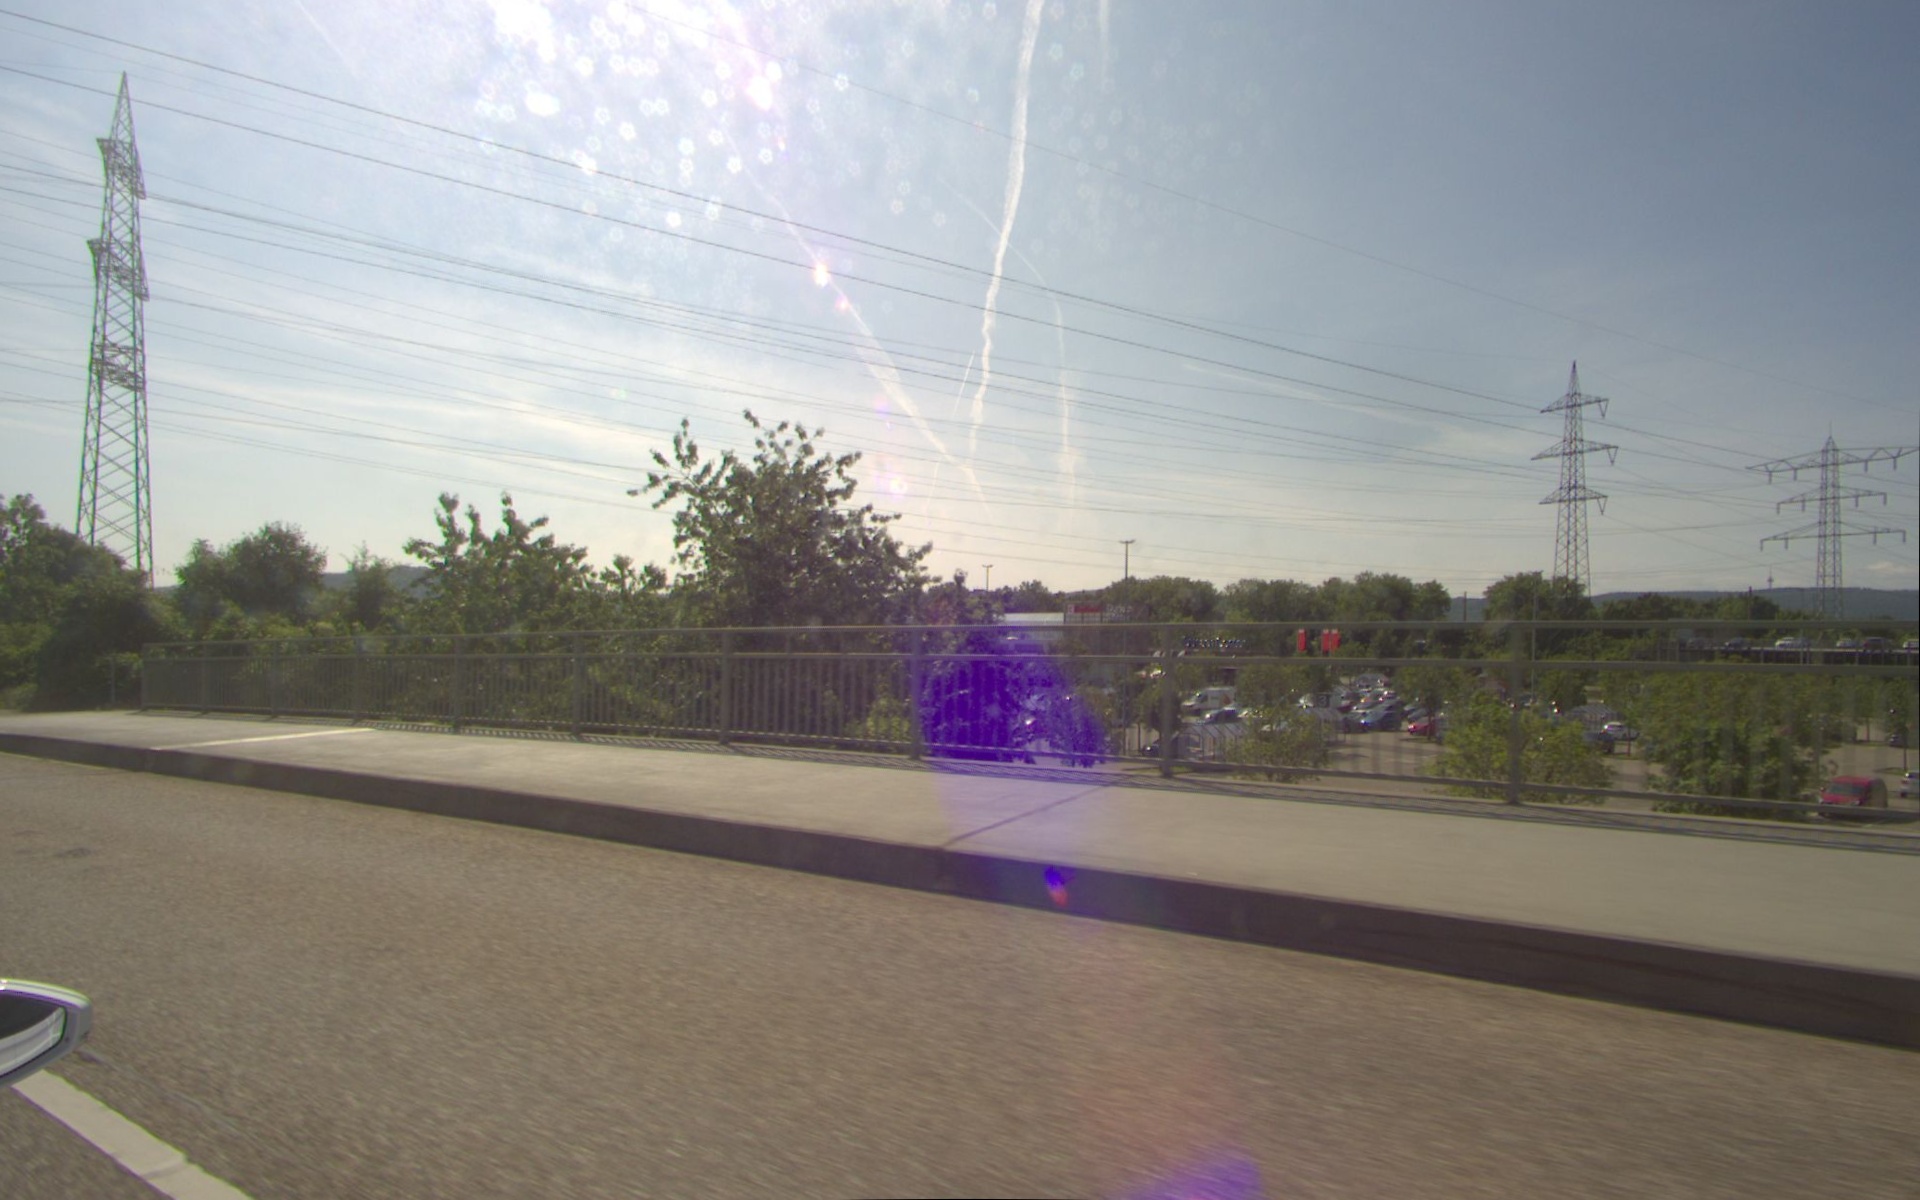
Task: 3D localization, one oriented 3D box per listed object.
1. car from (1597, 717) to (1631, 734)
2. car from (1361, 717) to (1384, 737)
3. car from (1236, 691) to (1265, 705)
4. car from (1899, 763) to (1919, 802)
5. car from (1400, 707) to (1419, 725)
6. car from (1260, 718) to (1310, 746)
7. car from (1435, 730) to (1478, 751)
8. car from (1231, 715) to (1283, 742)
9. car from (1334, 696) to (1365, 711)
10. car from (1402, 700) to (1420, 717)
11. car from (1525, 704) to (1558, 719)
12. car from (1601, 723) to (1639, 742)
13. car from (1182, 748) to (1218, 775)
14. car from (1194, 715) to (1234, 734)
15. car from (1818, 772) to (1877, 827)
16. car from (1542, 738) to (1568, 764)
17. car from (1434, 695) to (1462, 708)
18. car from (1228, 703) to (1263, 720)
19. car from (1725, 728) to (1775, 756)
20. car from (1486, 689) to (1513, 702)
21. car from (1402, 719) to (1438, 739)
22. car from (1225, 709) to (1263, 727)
[{"bbox_3d":[62.913,12.097,96.259,3.111,1.378,1.387,1,-1,-28],"label":"car"},{"bbox_3d":[35.751,11.009,86.775,1.373,1.378,3.145,1,-1,30],"label":"car"},{"bbox_3d":[33.319,11.258,114.818,3.111,1.378,1.387,1,-1,-28],"label":"car"},{"bbox_3d":[52.702,10.006,54.785,3.961,1.639,1.754,2,-1,-44],"label":"car"},{"bbox_3d":[42.908,11.040,95.512,1.373,1.378,3.145,1,-1,30],"label":"car"},{"bbox_3d":[25.138,10.202,77.459,3.904,1.740,1.881,1,-1,-39],"label":"car"},{"bbox_3d":[38.148,10.778,76.947,3.111,1.378,1.387,1,-1,-28],"label":"car"},{"bbox_3d":[23.693,10.245,79.900,3.895,1.740,1.886,1,-1,-32],"label":"car"},{"bbox_3d":[42.247,11.194,108.544,3.111,1.378,1.387,1,-1,-28],"label":"car"},{"bbox_3d":[46.206,11.105,102.653,1.373,1.378,3.145,1,-1,30],"label":"car"},{"bbox_3d":[59.423,11.375,102.316,3.111,1.378,1.387,1,-1,-28],"label":"car"},{"bbox_3d":[56.847,11.415,86.261,3.111,1.378,1.387,1,-1,-28],"label":"car"},{"bbox_3d":[14.941,10.039,62.495,1.367,1.203,3.160,4,-2,-1],"label":"car"},{"bbox_3d":[21.315,10.435,84.132,3.111,1.378,1.387,1,-1,-28],"label":"car"},{"bbox_3d":[43.037,9.606,48.633,1.976,1.914,3.970,0,-1,40],"label":"car"},{"bbox_3d":[42.301,10.696,71.209,1.375,1.378,3.141,1,-1,34],"label":"car"},{"bbox_3d":[56.451,11.756,115.868,3.111,1.378,1.387,1,-1,-28],"label":"car"},{"bbox_3d":[27.653,10.793,96.953,3.111,1.378,1.387,1,-1,-28],"label":"car"},{"bbox_3d":[61.323,11.009,77.752,3.949,1.747,1.987,1,-1,-35],"label":"car"},{"bbox_3d":[66.198,11.741,122.868,3.111,1.378,1.387,1,-1,-28],"label":"car"},{"bbox_3d":[39.178,11.002,85.252,3.120,1.378,1.384,2,-1,-36],"label":"car"},{"bbox_3d":[25.511,10.610,89.919,3.111,1.378,1.387,1,-1,-28],"label":"car"}]
